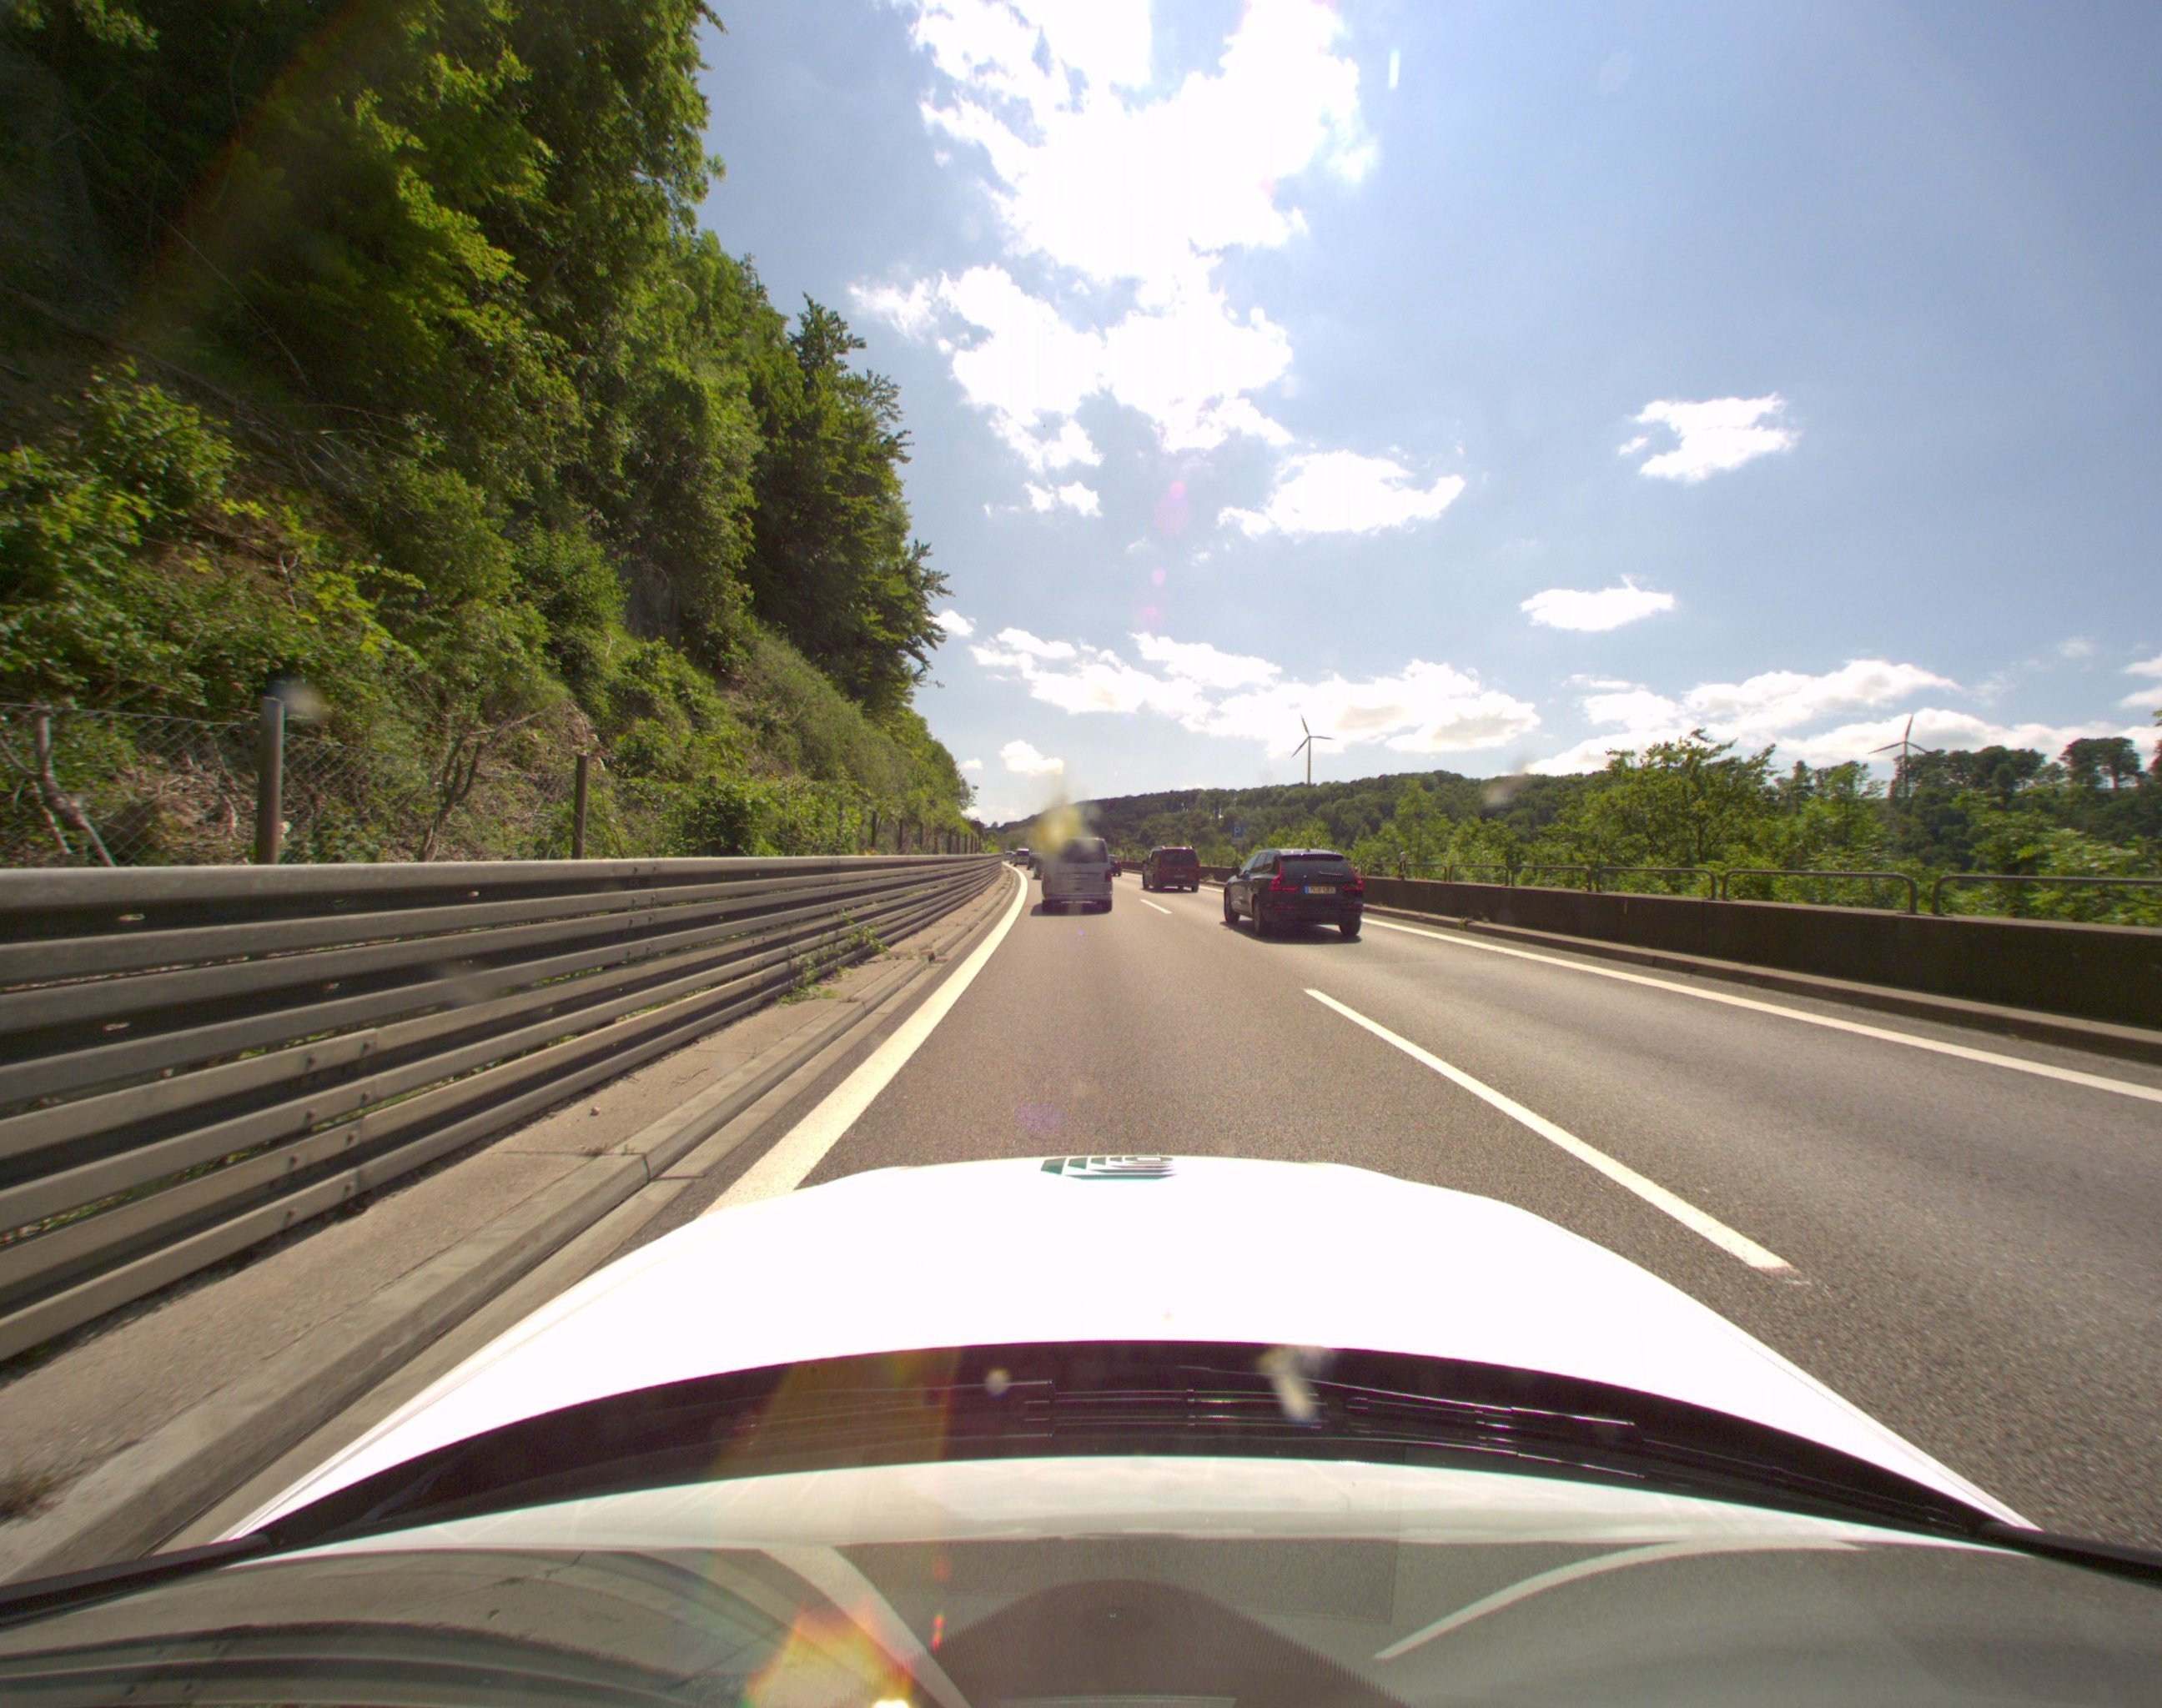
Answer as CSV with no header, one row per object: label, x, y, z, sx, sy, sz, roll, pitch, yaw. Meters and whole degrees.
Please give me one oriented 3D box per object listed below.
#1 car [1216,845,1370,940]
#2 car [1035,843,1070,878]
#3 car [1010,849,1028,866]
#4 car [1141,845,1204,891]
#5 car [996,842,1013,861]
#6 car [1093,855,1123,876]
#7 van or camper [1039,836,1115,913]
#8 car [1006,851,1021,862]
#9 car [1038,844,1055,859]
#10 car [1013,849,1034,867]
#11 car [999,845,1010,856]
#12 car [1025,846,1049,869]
car,4.077,0.676,16.517,1.829,1.633,4.660,0,0,-1
car,-1.731,0.372,48.295,1.990,2.014,3.994,0,0,-4
car,-7.712,0.426,101.124,1.992,1.915,3.990,1,0,-7
car,3.784,0.557,34.331,1.830,1.784,4.669,0,-1,-4
car,-19.801,-0.697,211.078,4.036,4.871,10.092,0,0,-5
car,1.805,0.803,55.775,1.765,1.376,3.588,0,-1,-3
van or camper,-0.210,0.540,22.893,1.872,1.949,4.287,0,-1,-4
car,-11.082,0.394,132.662,2.141,1.607,5.064,1,0,-8
car,-4.882,-0.321,114.938,1.994,2.014,3.986,0,-1,-10
car,-6.077,0.378,86.015,1.992,1.817,3.990,1,0,-7
car,-14.829,-0.632,158.485,1.991,2.014,3.990,0,-1,-7
car,-3.924,0.325,71.632,1.990,2.014,3.993,0,-1,-5
